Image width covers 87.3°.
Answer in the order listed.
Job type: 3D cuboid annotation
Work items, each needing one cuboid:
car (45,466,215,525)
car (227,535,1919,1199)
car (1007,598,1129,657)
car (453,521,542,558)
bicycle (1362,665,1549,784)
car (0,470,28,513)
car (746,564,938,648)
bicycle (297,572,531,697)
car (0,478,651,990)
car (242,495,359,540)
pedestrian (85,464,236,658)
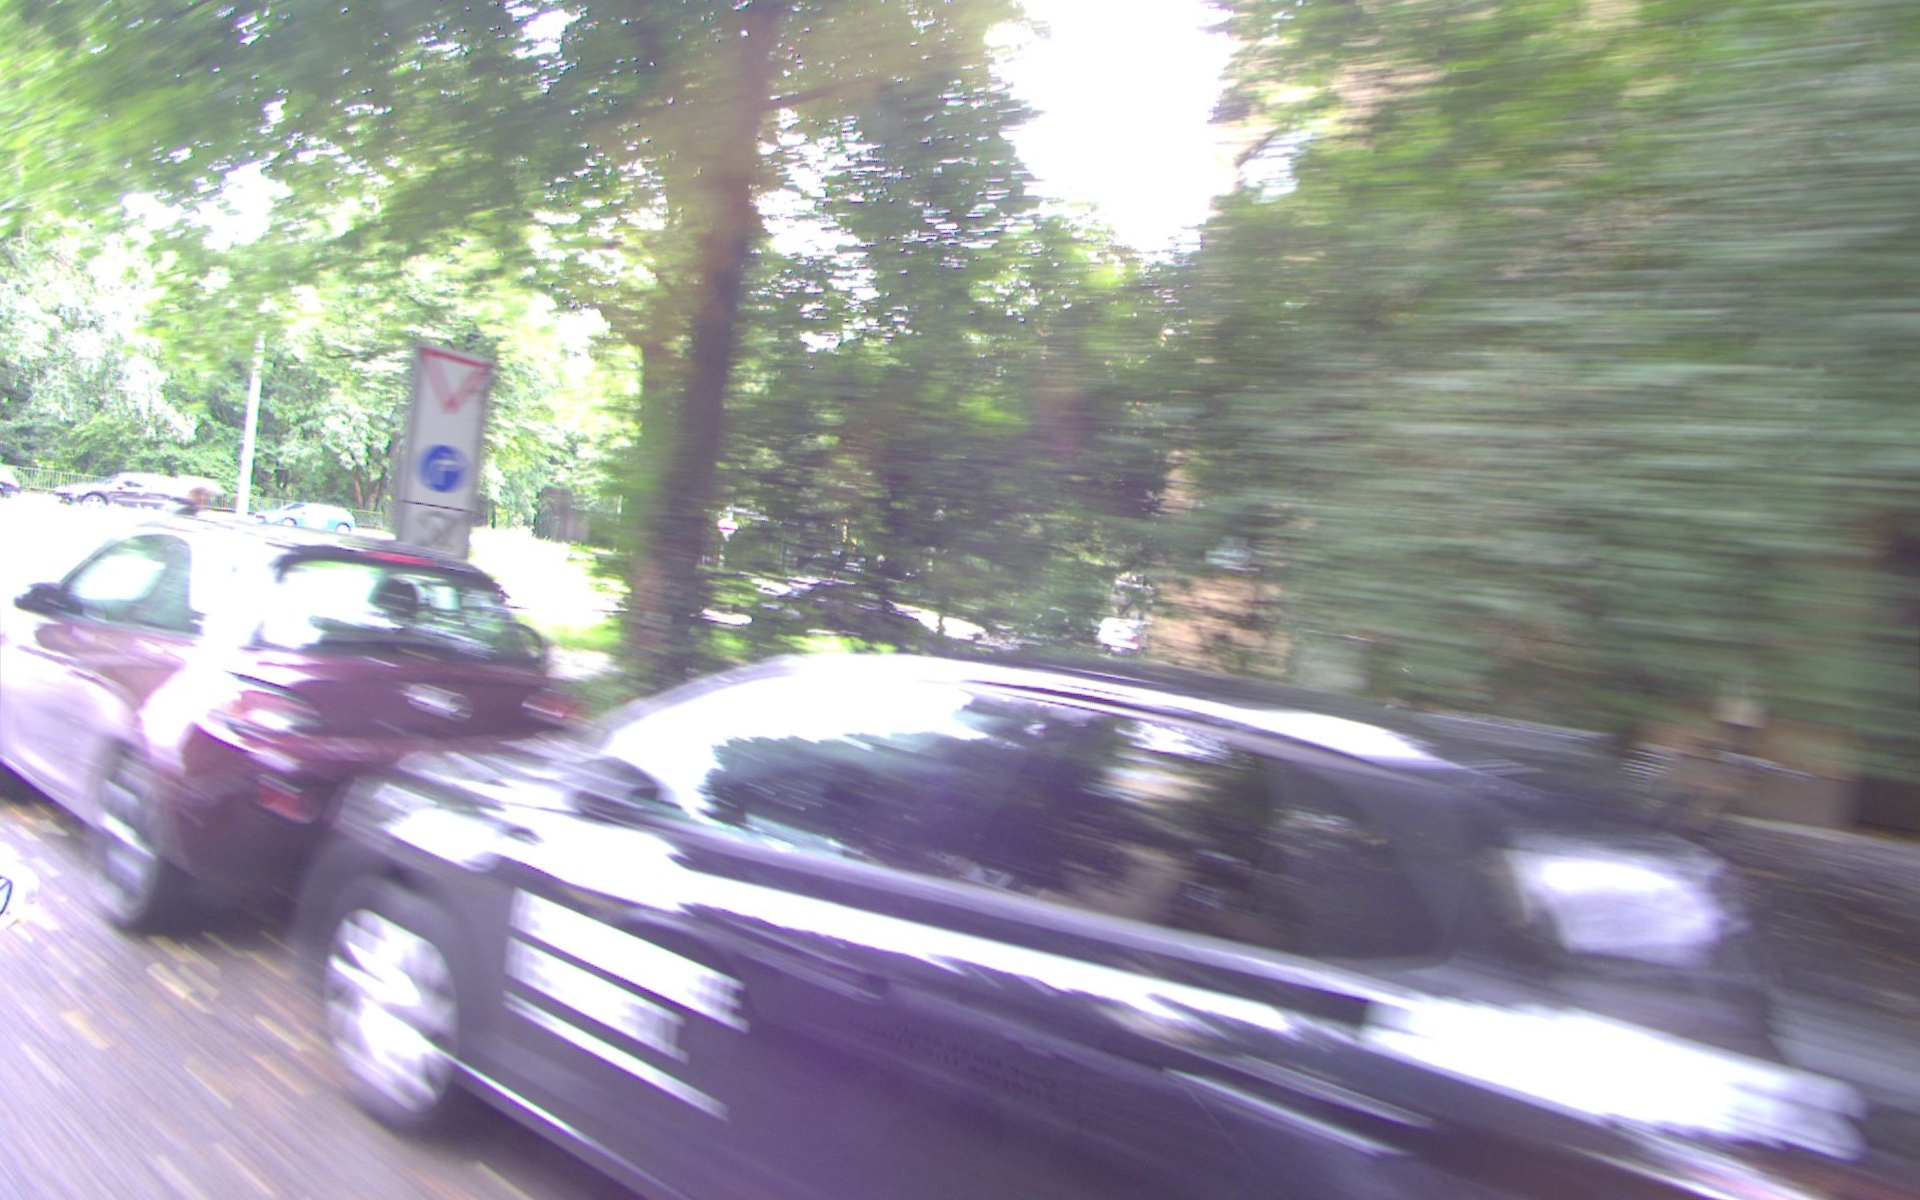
[{"bbox_3d":[-34.246,-4.282,41.701,1.964,1.585,5.041,7,1,24],"label":"car"},{"bbox_3d":[0.088,0.795,2.522,3.942,1.374,1.684,8,0,32],"label":"car"},{"bbox_3d":[3.231,0.828,29.489,1.590,1.362,3.984,8,1,38],"label":"car"},{"bbox_3d":[-27.009,-3.522,58.948,1.897,1.599,4.515,7,1,23],"label":"car"},{"bbox_3d":[5.764,1.412,11.750,1.805,1.057,0.554,8,2,31],"label":"bicycle"},{"bbox_3d":[-37.137,-4.258,36.398,1.897,1.490,4.592,7,1,24],"label":"car"},{"bbox_3d":[-2.389,0.177,21.268,1.590,1.362,3.984,8,1,38],"label":"car"},{"bbox_3d":[-4.749,0.343,8.867,0.269,0.994,1.749,8,1,41],"label":"bicycle"},{"bbox_3d":[-3.373,0.341,4.834,3.585,1.492,1.648,8,1,35],"label":"car"},{"bbox_3d":[-31.669,-3.929,48.439,1.897,1.490,4.274,7,1,24],"label":"car"},{"bbox_3d":[-7.399,-0.347,9.319,0.748,1.638,0.779,11,3,35],"label":"pedestrian"}]
